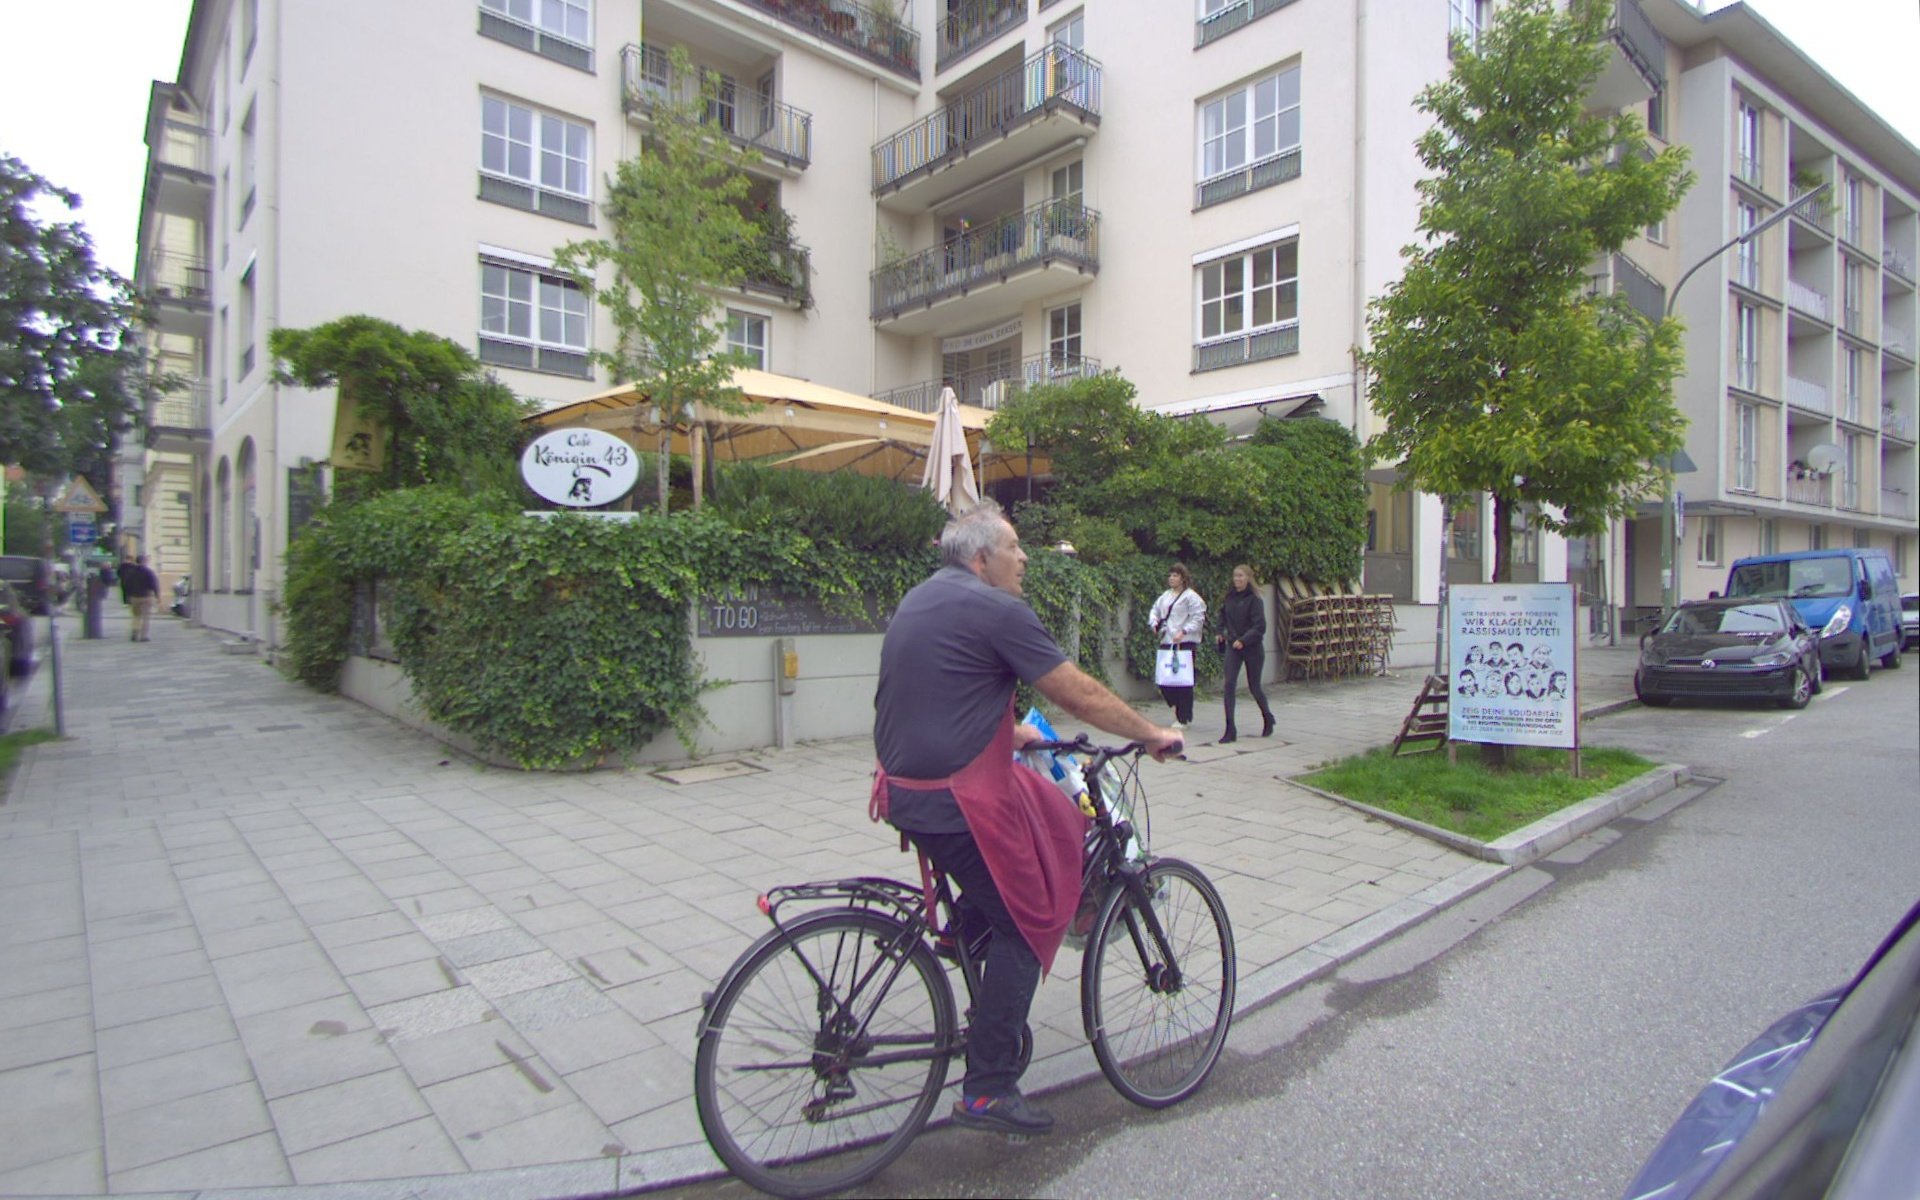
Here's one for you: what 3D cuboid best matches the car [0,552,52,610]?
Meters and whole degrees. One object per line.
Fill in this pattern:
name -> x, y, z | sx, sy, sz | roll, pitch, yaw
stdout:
car -> -31.000, -0.617, 33.116 | 1.787, 1.797, 3.995 | 1, 1, -40

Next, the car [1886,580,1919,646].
car -> 24.659, 0.312, 25.130 | 4.226, 1.543, 1.778 | 1, -4, -39

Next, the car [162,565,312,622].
car -> -20.882, -0.185, 29.291 | 3.420, 1.549, 1.574 | 0, 1, -40

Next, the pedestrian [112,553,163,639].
pedestrian -> -17.009, -0.089, 20.924 | 0.775, 1.735, 0.830 | 1, 0, -41

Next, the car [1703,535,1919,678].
car -> 15.622, 0.079, 18.411 | 4.940, 2.242, 2.112 | -2, -2, -40

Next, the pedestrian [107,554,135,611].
pedestrian -> -30.525, -0.639, 36.826 | 0.743, 2.039, 0.830 | 1, 0, -41

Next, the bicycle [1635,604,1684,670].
bicycle -> 12.451, 0.630, 17.996 | 0.564, 1.083, 1.761 | 1, 1, 40

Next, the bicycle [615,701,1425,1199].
bicycle -> 0.232, 0.893, 2.860 | 2.147, 1.032, 0.880 | 1, 0, -30

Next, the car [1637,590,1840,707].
car -> 11.017, 0.614, 14.218 | 3.935, 1.413, 1.714 | 0, -2, -45

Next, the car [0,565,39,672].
car -> -15.649, 0.228, 15.800 | 1.693, 1.549, 3.995 | 1, 1, -40

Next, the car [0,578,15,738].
car -> -10.843, 0.487, 10.152 | 1.936, 1.416, 4.495 | 0, 1, -43

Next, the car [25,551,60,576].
car -> -60.885, -2.429, 67.165 | 1.675, 1.527, 3.993 | 1, 2, -42

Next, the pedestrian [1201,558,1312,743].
pedestrian -> 2.796, 0.429, 9.544 | 0.816, 1.648, 0.679 | -1, 2, -43

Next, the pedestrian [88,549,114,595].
pedestrian -> -38.727, -1.241, 45.619 | 0.829, 2.039, 0.776 | 1, 0, 44

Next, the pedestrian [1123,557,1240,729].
pedestrian -> 2.216, 0.389, 10.123 | 0.815, 1.626, 0.808 | -1, 2, -42

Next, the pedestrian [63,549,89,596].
pedestrian -> -39.313, -1.208, 45.013 | 0.829, 2.039, 0.776 | 1, 0, 44

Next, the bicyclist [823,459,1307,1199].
bicyclist -> 0.273, 0.500, 2.874 | 1.028, 1.629, 0.879 | 1, 0, -31
